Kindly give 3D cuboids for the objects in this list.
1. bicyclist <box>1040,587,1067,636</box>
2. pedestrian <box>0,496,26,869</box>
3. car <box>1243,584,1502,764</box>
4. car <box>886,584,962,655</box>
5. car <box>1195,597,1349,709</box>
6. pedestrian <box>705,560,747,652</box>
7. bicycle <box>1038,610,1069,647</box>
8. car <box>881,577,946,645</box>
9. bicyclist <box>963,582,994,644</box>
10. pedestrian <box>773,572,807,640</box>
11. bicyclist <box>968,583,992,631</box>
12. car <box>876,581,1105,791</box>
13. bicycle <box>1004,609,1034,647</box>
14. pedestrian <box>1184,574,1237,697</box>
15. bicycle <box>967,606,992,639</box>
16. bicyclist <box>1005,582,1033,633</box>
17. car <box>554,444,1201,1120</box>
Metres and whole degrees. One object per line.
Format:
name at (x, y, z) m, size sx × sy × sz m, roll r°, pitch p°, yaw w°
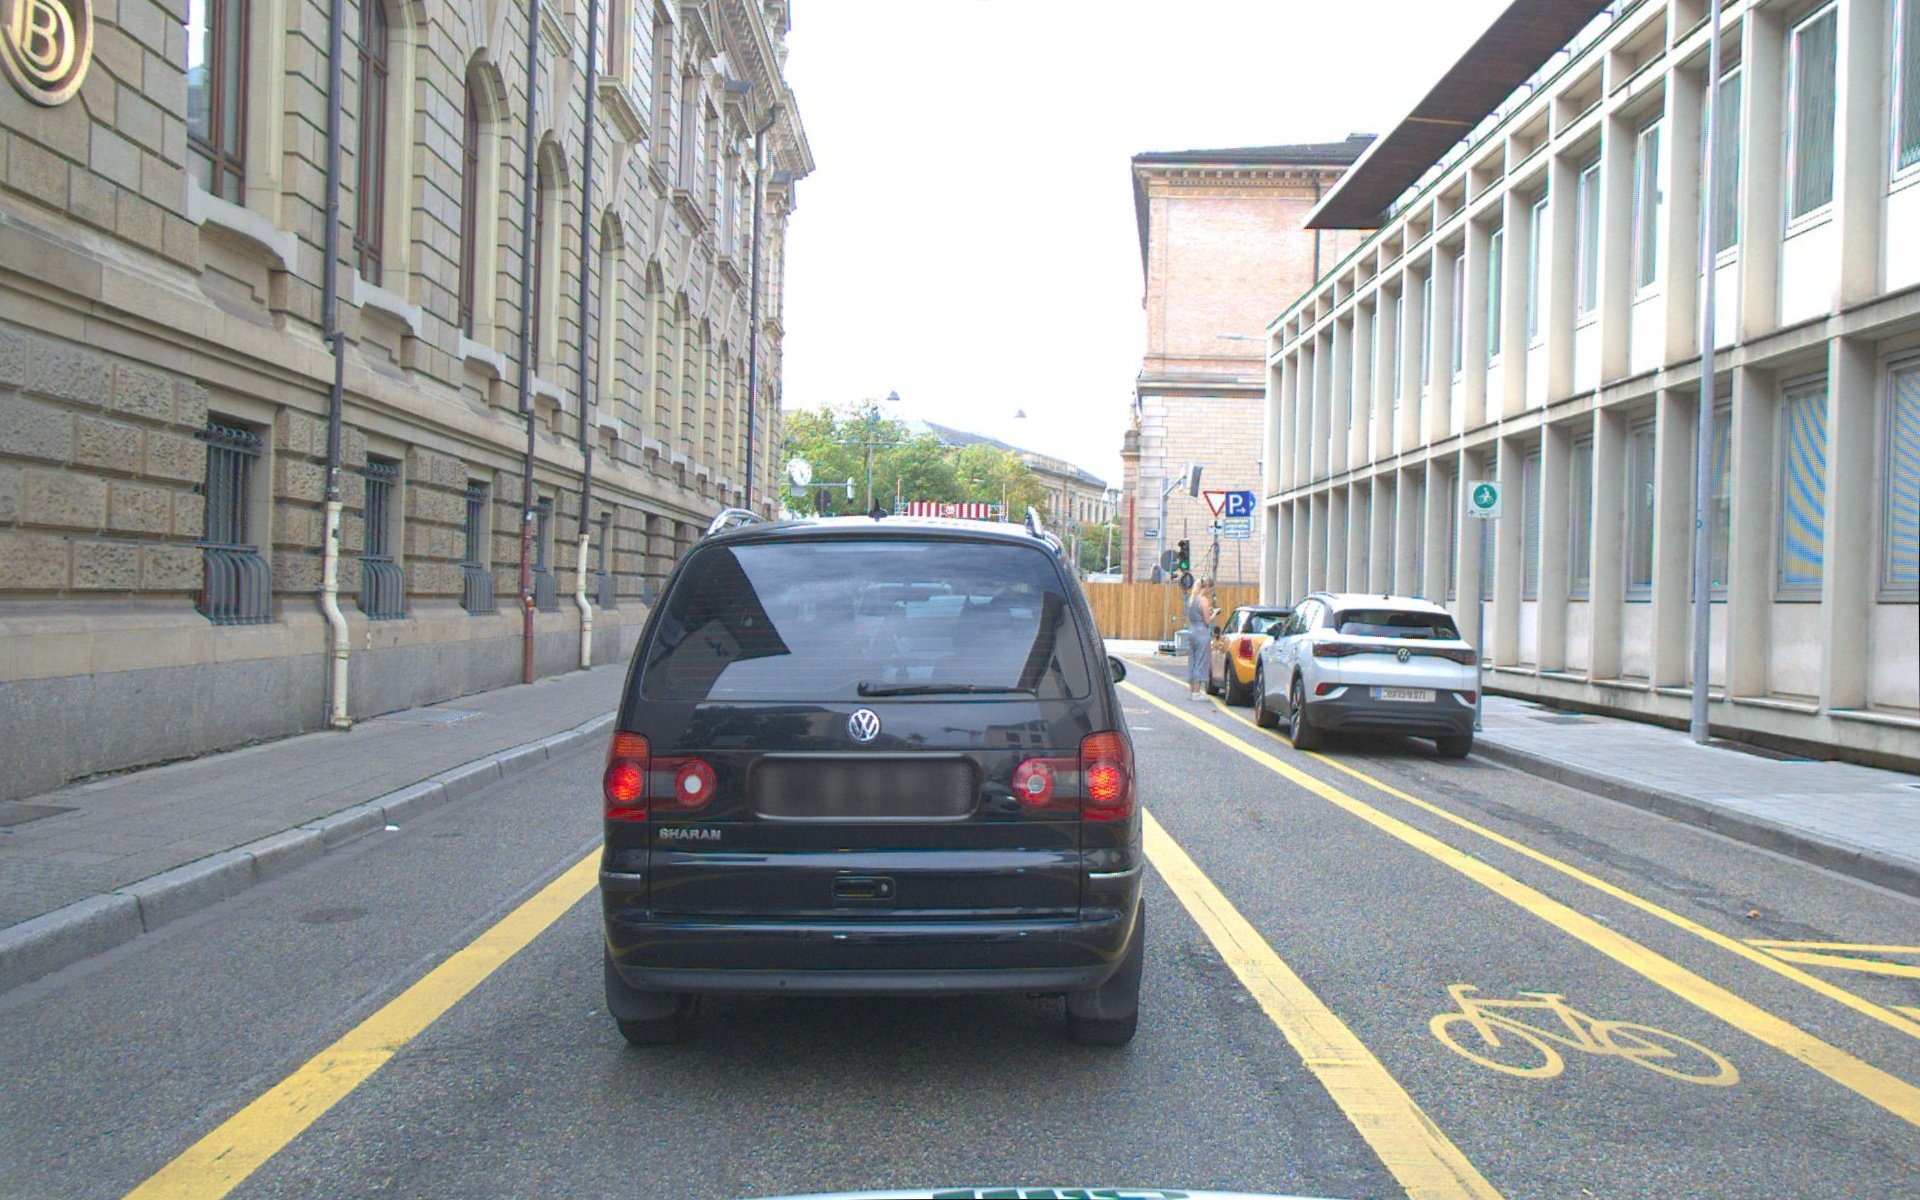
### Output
bicyclist at (2.686, 0.323, 47.598) m, size 0.720 × 1.399 × 0.831 m, roll 1°, pitch 0°, yaw -1°
pedestrian at (-4.968, 0.362, 7.405) m, size 1.005 × 1.750 × 0.818 m, roll 3°, pitch -1°, yaw -1°
car at (4.456, 0.738, 18.573) m, size 1.822 × 1.633 × 4.513 m, roll 4°, pitch 0°, yaw 2°
car at (-0.868, 0.450, 40.243) m, size 1.737 × 1.613 × 3.999 m, roll 1°, pitch 0°, yaw -1°
car at (4.664, 0.754, 25.199) m, size 1.645 × 1.459 × 3.887 m, roll 4°, pitch 0°, yaw 2°
pedestrian at (-4.862, 0.125, 34.379) m, size 0.650 × 1.851 × 1.048 m, roll 3°, pitch -1°, yaw -1°
bicycle at (2.675, 0.804, 47.610) m, size 0.720 × 1.026 × 2.068 m, roll 1°, pitch 0°, yaw -1°
car at (-1.366, 0.296, 47.240) m, size 1.700 × 1.821 × 4.100 m, roll 2°, pitch 0°, yaw -4°
bicyclist at (0.457, 0.324, 41.026) m, size 0.720 × 1.504 × 0.884 m, roll 1°, pitch 0°, yaw -1°
pedestrian at (-4.830, 0.169, 46.977) m, size 0.776 × 1.851 × 1.048 m, roll 3°, pitch -1°, yaw -1°
bicyclist at (0.627, 0.233, 52.452) m, size 0.720 × 1.495 × 0.808 m, roll 1°, pitch -1°, yaw -1°
car at (0.293, 0.638, 14.191) m, size 1.643 × 1.495 × 4.104 m, roll 2°, pitch 0°, yaw 2°
bicycle at (1.643, 0.759, 46.145) m, size 0.720 × 1.026 × 2.068 m, roll 1°, pitch 0°, yaw -1°
pedestrian at (3.726, 0.520, 24.615) m, size 0.683 × 1.794 × 0.706 m, roll 1°, pitch -1°, yaw 3°
bicycle at (0.612, 0.701, 52.489) m, size 0.720 × 1.026 × 2.068 m, roll 1°, pitch 0°, yaw -1°
bicyclist at (1.655, 0.219, 46.133) m, size 0.720 × 1.401 × 0.828 m, roll 1°, pitch 0°, yaw -1°
car at (-0.159, 0.505, 6.641) m, size 1.752 × 1.821 × 4.104 m, roll 1°, pitch 0°, yaw 2°
